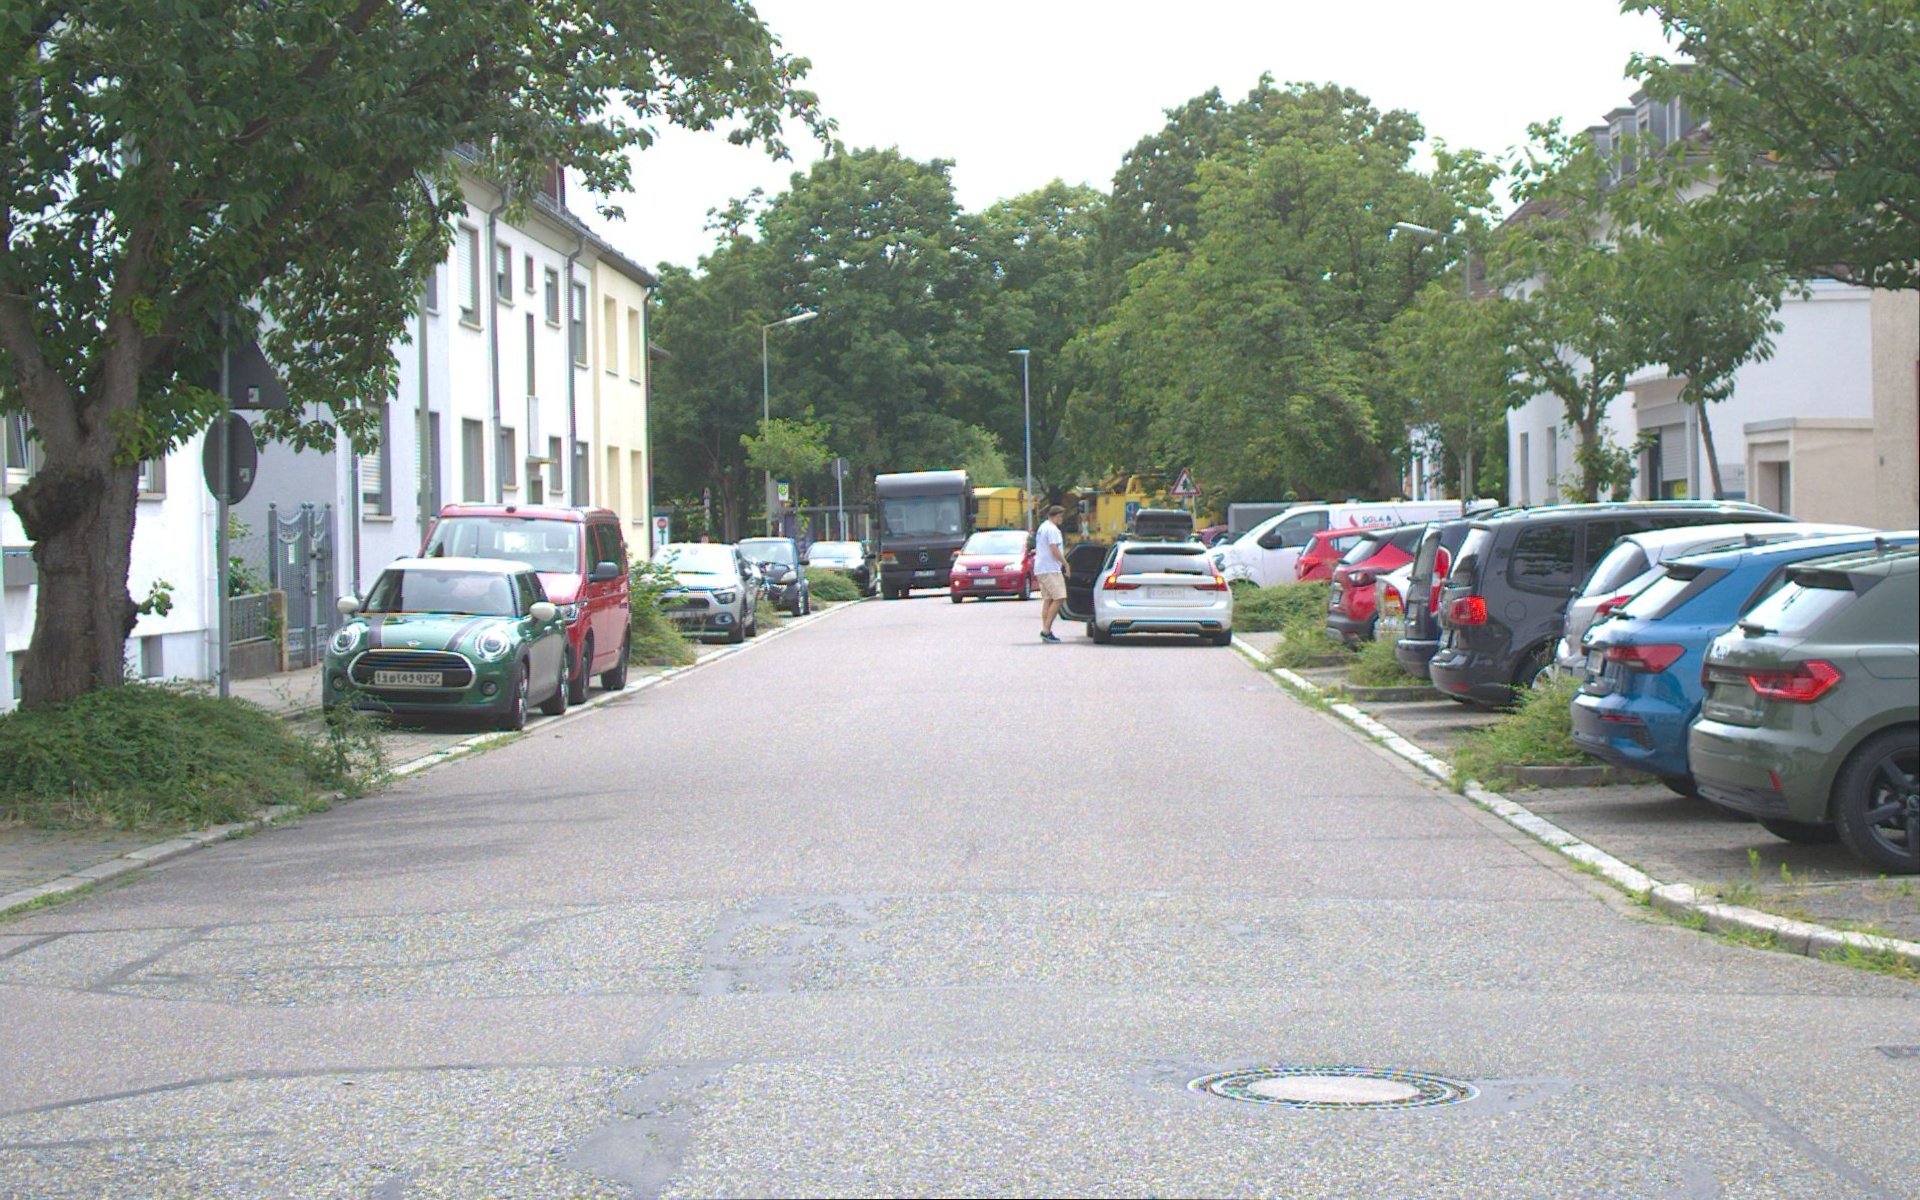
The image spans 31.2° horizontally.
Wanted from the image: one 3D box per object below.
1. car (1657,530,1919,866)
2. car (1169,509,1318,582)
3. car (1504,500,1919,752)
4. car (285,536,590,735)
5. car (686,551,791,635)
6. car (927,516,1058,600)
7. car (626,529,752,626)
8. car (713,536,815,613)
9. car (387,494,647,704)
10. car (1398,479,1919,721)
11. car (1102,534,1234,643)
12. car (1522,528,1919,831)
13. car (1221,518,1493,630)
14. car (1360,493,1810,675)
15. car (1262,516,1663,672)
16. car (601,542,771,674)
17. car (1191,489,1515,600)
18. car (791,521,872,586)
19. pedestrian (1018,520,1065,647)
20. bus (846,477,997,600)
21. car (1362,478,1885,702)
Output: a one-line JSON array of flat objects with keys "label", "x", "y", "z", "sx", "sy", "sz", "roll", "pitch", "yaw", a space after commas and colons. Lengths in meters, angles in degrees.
[{"label": "car", "x": 5.165, "y": 0.337, "z": 15.326, "sx": 3.748, "sy": 1.361, "sz": 1.773, "roll": -3, "pitch": 1, "yaw": 3}, {"label": "car", "x": 6.980, "y": -1.355, "z": 84.993, "sx": 3.530, "sy": 1.597, "sz": 1.773, "roll": -3, "pitch": 1, "yaw": 3}, {"label": "car", "x": 5.814, "y": 0.121, "z": 23.181, "sx": 3.987, "sy": 1.513, "sz": 1.722, "roll": -3, "pitch": 1, "yaw": 2}, {"label": "car", "x": -4.538, "y": 0.264, "z": 30.373, "sx": 1.763, "sy": 1.548, "sz": 3.730, "roll": -3, "pitch": 1, "yaw": 5}, {"label": "car", "x": -3.755, "y": -0.146, "z": 58.626, "sx": 1.538, "sy": 1.297, "sz": 3.722, "roll": -3, "pitch": 1, "yaw": -1}, {"label": "car", "x": 0.717, "y": -0.906, "z": 72.213, "sx": 1.994, "sy": 1.612, "sz": 3.998, "roll": -3, "pitch": 1, "yaw": 11}, {"label": "car", "x": -4.188, "y": -0.369, "z": 53.572, "sx": 1.651, "sy": 1.372, "sz": 3.722, "roll": -3, "pitch": 1, "yaw": -1}, {"label": "car", "x": -3.809, "y": -0.517, "z": 67.339, "sx": 1.651, "sy": 1.372, "sz": 3.722, "roll": -3, "pitch": 1, "yaw": 1}, {"label": "car", "x": -4.513, "y": -0.053, "z": 35.666, "sx": 1.993, "sy": 2.007, "sz": 4.520, "roll": -1, "pitch": 1, "yaw": 1}, {"label": "car", "x": 5.243, "y": -0.020, "z": 25.523, "sx": 3.748, "sy": 1.559, "sz": 1.773, "roll": -3, "pitch": 1, "yaw": 3}, {"label": "car", "x": 2.845, "y": -0.183, "z": 47.395, "sx": 1.687, "sy": 1.349, "sz": 3.826, "roll": -3, "pitch": 1, "yaw": 3}, {"label": "car", "x": 4.818, "y": 0.348, "z": 17.860, "sx": 3.518, "sy": 1.407, "sz": 1.558, "roll": -3, "pitch": 1, "yaw": 2}, {"label": "car", "x": 6.106, "y": -0.409, "z": 53.229, "sx": 3.987, "sy": 1.513, "sz": 1.722, "roll": -3, "pitch": 1, "yaw": 2}, {"label": "car", "x": 5.964, "y": -0.164, "z": 33.132, "sx": 3.987, "sy": 1.513, "sz": 1.722, "roll": -3, "pitch": 1, "yaw": 2}, {"label": "car", "x": 5.295, "y": -0.080, "z": 36.604, "sx": 3.987, "sy": 1.434, "sz": 1.722, "roll": -3, "pitch": 1, "yaw": 2}, {"label": "car", "x": -3.299, "y": 0.063, "z": 41.920, "sx": 1.651, "sy": 1.456, "sz": 3.552, "roll": -3, "pitch": 1, "yaw": 1}, {"label": "car", "x": 6.322, "y": -0.903, "z": 55.618, "sx": 4.975, "sy": 1.513, "sz": 1.769, "roll": -3, "pitch": 1, "yaw": 0}, {"label": "car", "x": -3.208, "y": -1.186, "z": 86.434, "sx": 1.621, "sy": 1.497, "sz": 4.000, "roll": -3, "pitch": 1, "yaw": 3}, {"label": "pedestrian", "x": 1.109, "y": -0.225, "z": 46.822, "sx": 0.522, "sy": 1.698, "sz": 0.444, "roll": -3, "pitch": 1, "yaw": 5}, {"label": "bus", "x": -0.857, "y": -1.549, "z": 85.300, "sx": 3.004, "sy": 2.751, "sz": 8.923, "roll": -3, "pitch": 1, "yaw": 3}, {"label": "car", "x": 5.459, "y": -0.096, "z": 28.678, "sx": 3.987, "sy": 1.612, "sz": 1.867, "roll": -3, "pitch": 1, "yaw": 3}]
